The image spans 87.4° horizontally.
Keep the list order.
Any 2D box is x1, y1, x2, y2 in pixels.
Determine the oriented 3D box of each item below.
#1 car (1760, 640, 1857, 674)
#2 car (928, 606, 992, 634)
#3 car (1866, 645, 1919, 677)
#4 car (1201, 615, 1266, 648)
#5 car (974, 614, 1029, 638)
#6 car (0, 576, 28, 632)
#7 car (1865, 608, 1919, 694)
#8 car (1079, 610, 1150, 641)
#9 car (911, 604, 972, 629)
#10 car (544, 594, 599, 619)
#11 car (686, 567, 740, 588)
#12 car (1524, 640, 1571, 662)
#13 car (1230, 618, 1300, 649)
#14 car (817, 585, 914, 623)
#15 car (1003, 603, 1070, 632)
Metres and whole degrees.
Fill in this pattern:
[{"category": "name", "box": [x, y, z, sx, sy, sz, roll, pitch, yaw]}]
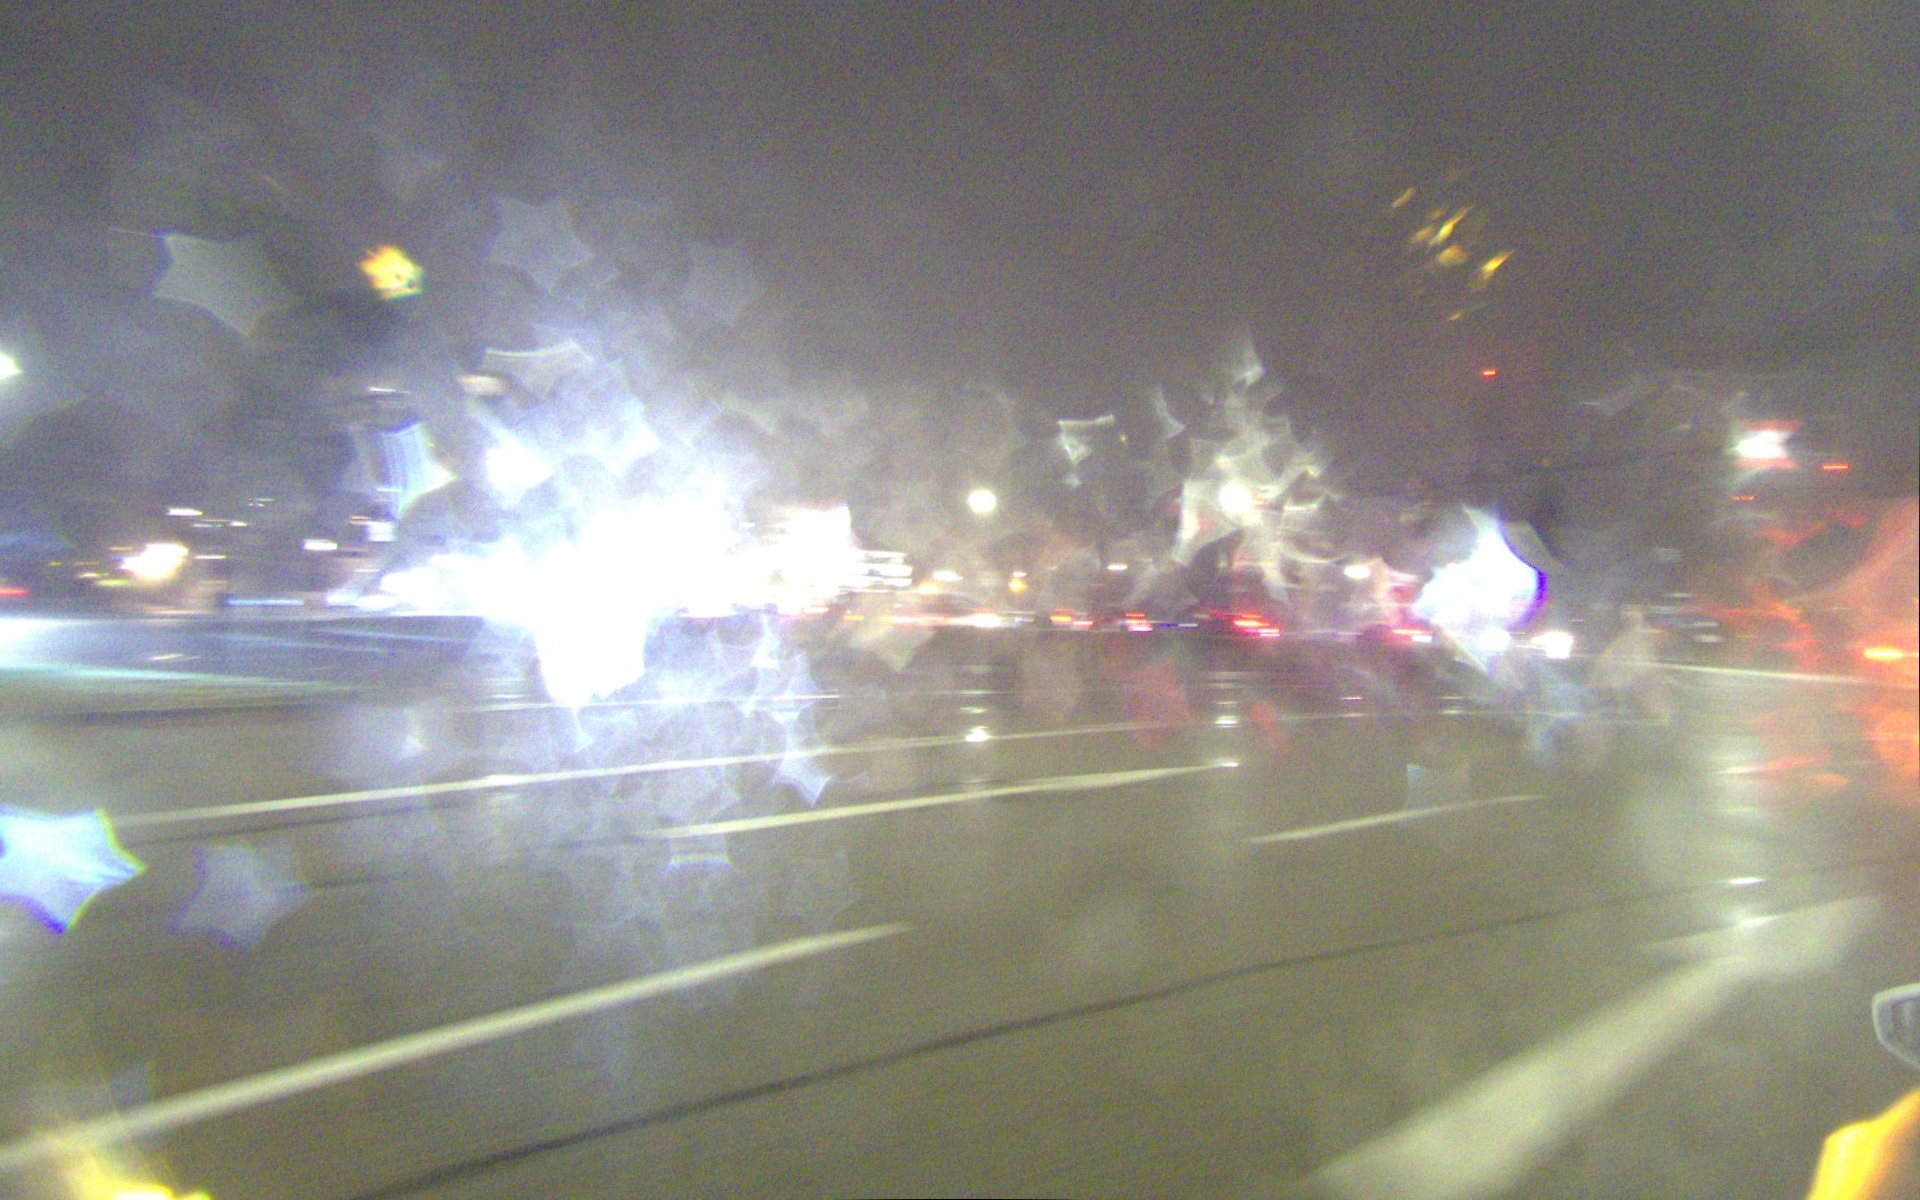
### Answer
[{"category": "car", "box": [50.384, 3.378, 59.740, 1.897, 1.706, 3.966, 3, 0, -31]}, {"category": "car", "box": [0.046, 1.301, 66.070, 3.919, 1.637, 1.838, 3, 0, 7]}, {"category": "car", "box": [56.886, 3.707, 59.866, 1.777, 1.704, 4.023, 3, 0, -38]}, {"category": "car", "box": [15.837, 1.816, 58.304, 1.807, 1.637, 3.987, 3, 0, -15]}, {"category": "car", "box": [3.113, 1.950, 76.005, 1.758, 1.505, 3.946, 3, 0, -45]}, {"category": "car", "box": [-38.135, 0.063, 37.748, 4.388, 2.040, 1.976, 3, 0, -41]}, {"category": "car", "box": [24.760, 1.354, 25.780, 4.529, 2.040, 1.973, 3, 0, -45]}, {"category": "car", "box": [9.566, 1.575, 62.204, 3.891, 1.599, 1.875, 3, 0, 27]}, {"category": "car", "box": [-1.317, 1.191, 70.910, 3.919, 1.505, 1.770, 3, 0, 14]}, {"category": "car", "box": [-28.222, 0.476, 73.145, 1.737, 1.639, 3.875, 3, 0, 14]}, {"category": "car", "box": [-20.238, -1.860, 82.472, 1.806, 1.463, 3.999, 3, 0, 41]}, {"category": "car", "box": [54.873, 4.776, 93.837, 4.345, 1.781, 1.862, 3, 0, -31]}, {"category": "car", "box": [18.107, 1.959, 59.761, 1.724, 1.599, 3.584, 3, 0, -42]}, {"category": "car", "box": [-6.222, 0.245, 66.661, 6.192, 2.117, 2.514, 3, 0, -3]}, {"category": "car", "box": [4.871, 1.101, 64.003, 3.887, 1.599, 1.737, 3, 0, 21]}]
